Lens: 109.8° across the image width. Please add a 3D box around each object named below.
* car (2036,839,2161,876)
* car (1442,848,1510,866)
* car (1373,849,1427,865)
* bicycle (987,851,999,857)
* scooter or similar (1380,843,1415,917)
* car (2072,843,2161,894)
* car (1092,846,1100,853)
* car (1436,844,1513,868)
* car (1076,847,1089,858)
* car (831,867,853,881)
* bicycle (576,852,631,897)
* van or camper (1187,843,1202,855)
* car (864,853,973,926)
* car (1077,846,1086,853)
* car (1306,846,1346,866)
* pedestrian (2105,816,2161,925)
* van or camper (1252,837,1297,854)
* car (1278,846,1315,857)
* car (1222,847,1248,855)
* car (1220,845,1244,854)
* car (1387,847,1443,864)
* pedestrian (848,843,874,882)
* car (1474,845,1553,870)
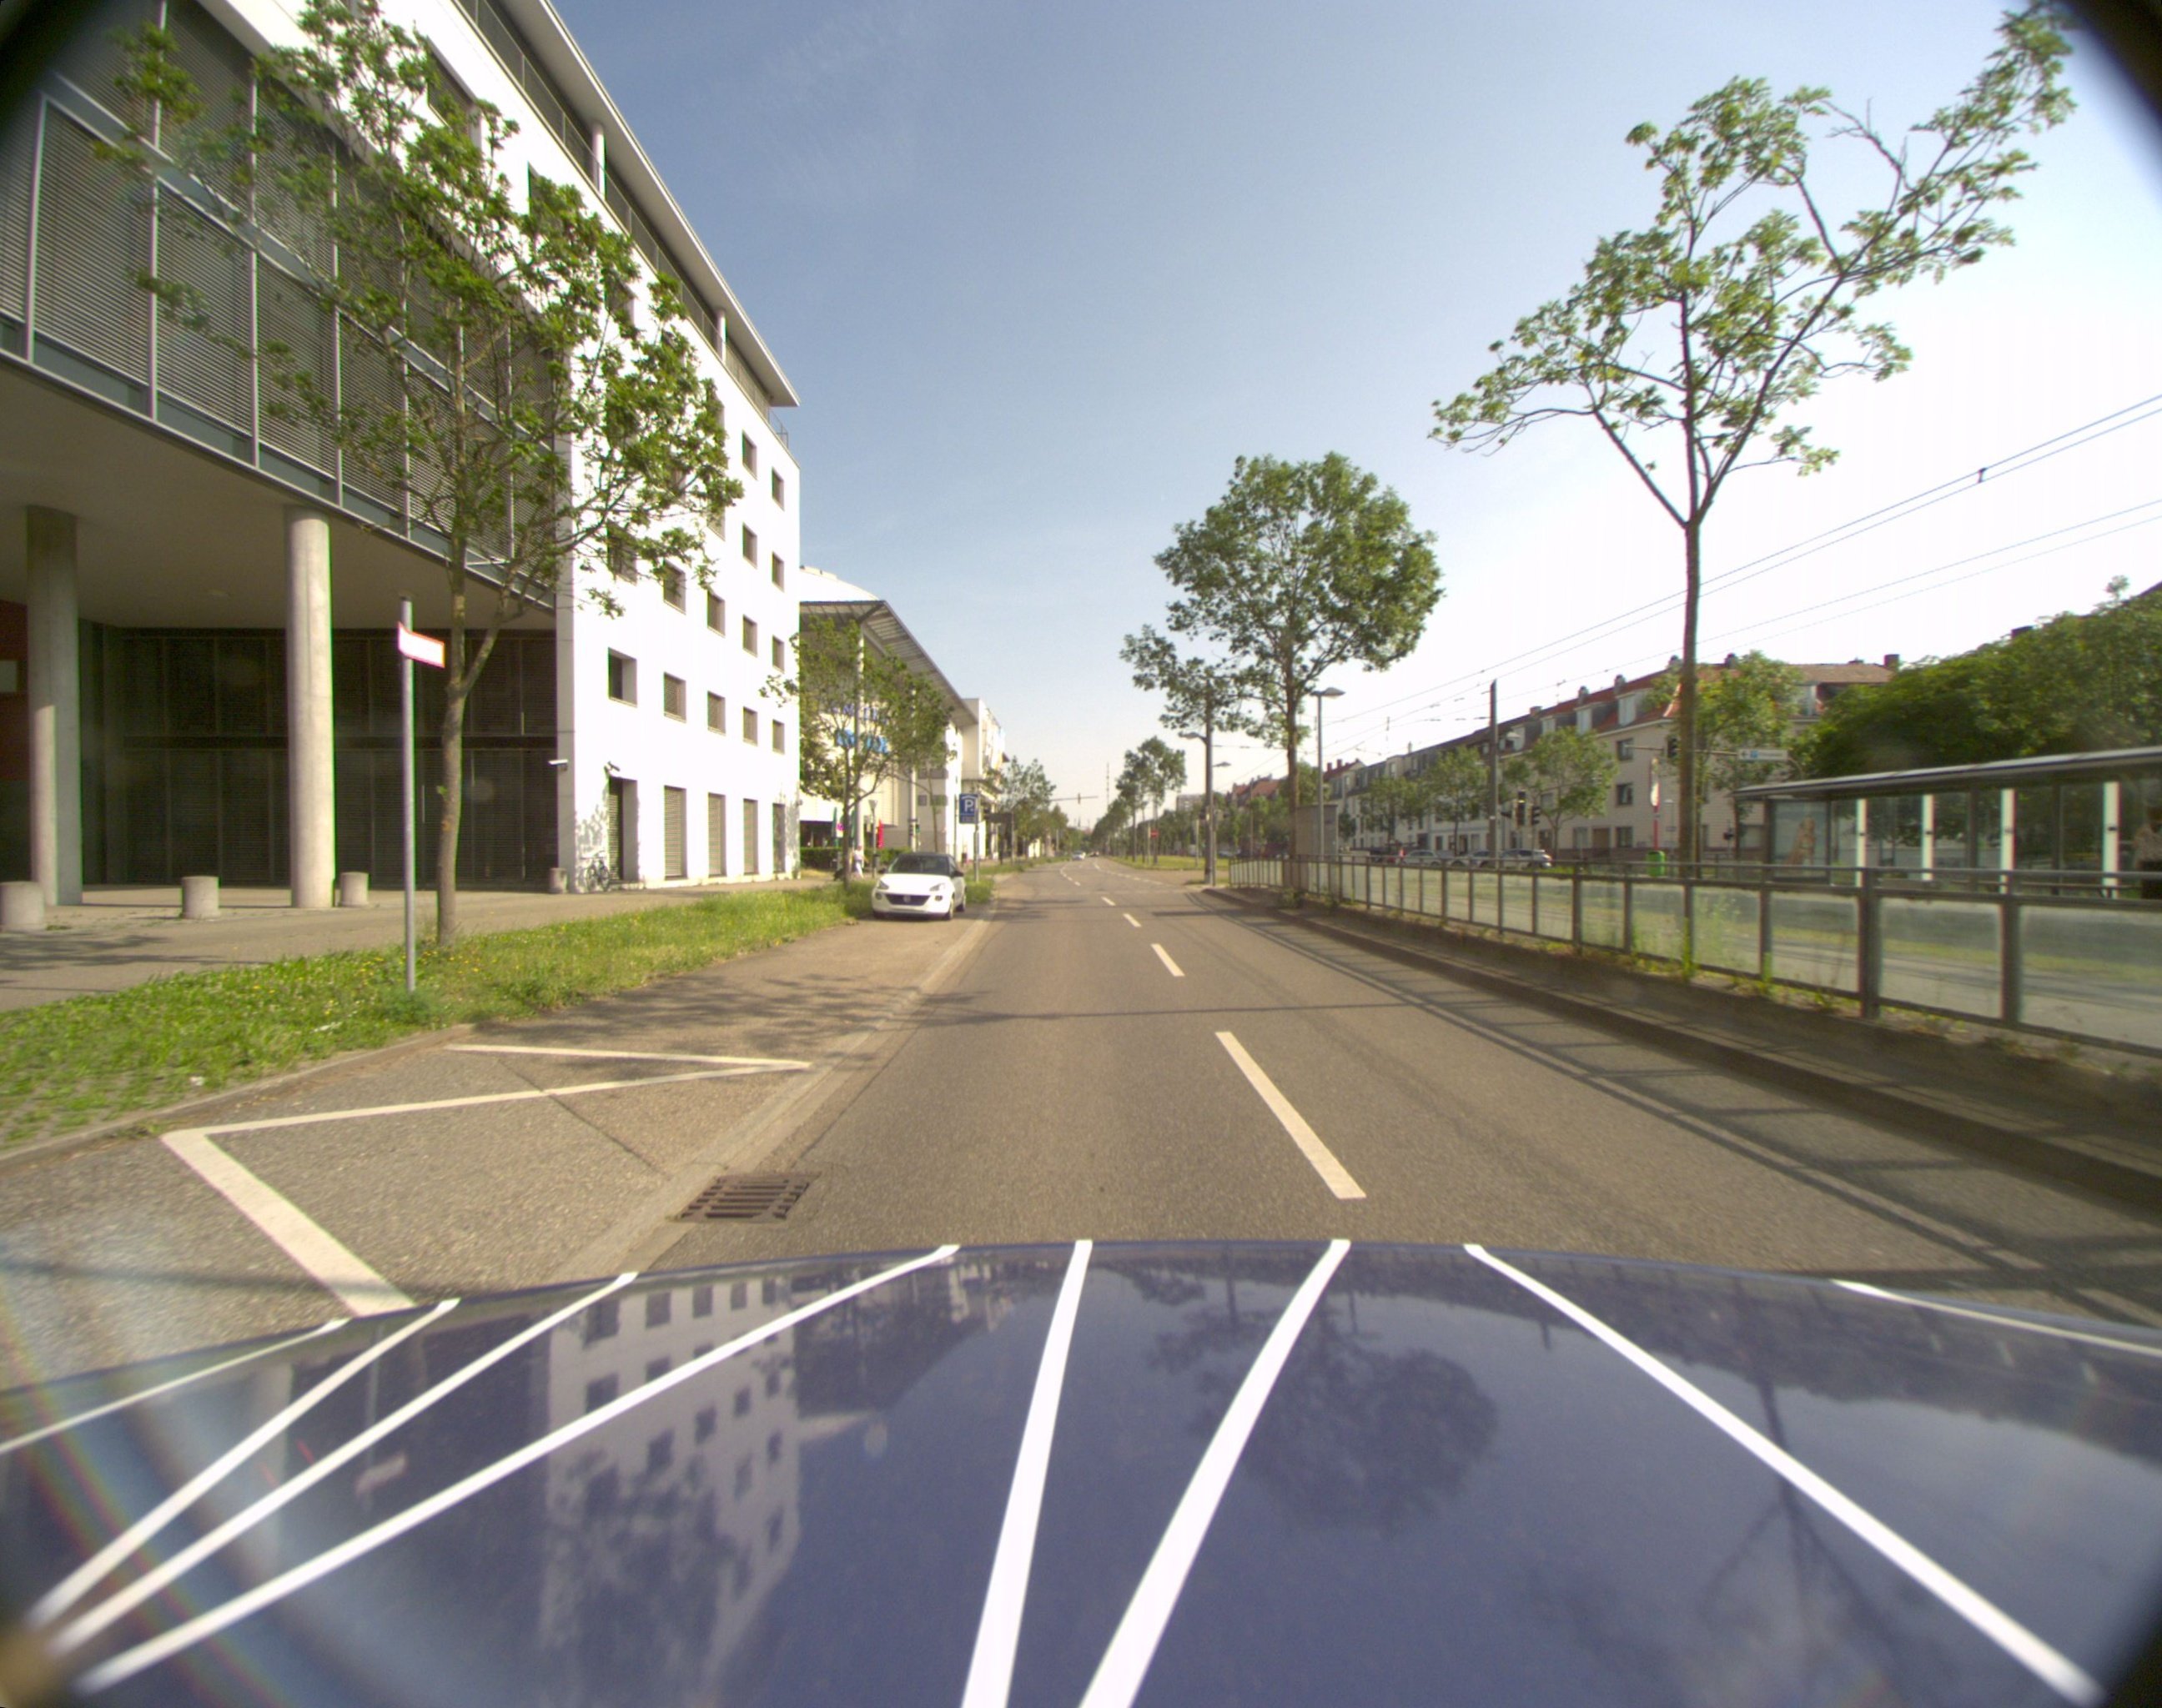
[{"bbox_3d":[49.751,0.160,36.931,3.996,1.596,1.999,-2,1,3],"label":"car"},{"bbox_3d":[28.768,0.205,55.362,3.989,1.171,2.004,-1,1,41],"label":"car"},{"bbox_3d":[27.776,0.237,66.194,3.988,1.251,1.880,1,1,33],"label":"car"},{"bbox_3d":[-12.944,-0.021,111.578,1.661,0.910,0.482,1,1,1],"label":"bicycle"},{"bbox_3d":[5.526,0.424,13.230,0.426,1.232,1.264,1,1,28],"label":"scooter or similar"},{"bbox_3d":[39.830,0.495,27.980,3.997,1.685,2.000,-2,1,1],"label":"car"},{"bbox_3d":[3.805,-1.122,189.655,1.998,1.652,4.000,0,0,0],"label":"car"},{"bbox_3d":[27.588,0.158,53.325,4.452,1.506,2.004,-1,1,37],"label":"car"},{"bbox_3d":[0.208,-0.176,115.522,1.998,1.652,4.000,0,0,0],"label":"car"},{"bbox_3d":[-10.184,0.855,32.390,0.766,0.584,0.499,1,1,26],"label":"car"},{"bbox_3d":[-12.374,0.512,19.731,0.495,1.080,1.549,1,1,-2],"label":"bicycle"},{"bbox_3d":[23.619,-1.058,157.740,2.147,2.460,6.057,1,1,0],"label":"van or camper"},{"bbox_3d":[-3.633,0.734,17.591,1.725,1.510,3.781,0,0,-1],"label":"car"},{"bbox_3d":[0.089,-1.077,174.992,1.998,1.652,4.000,0,0,0],"label":"car"},{"bbox_3d":[22.592,0.123,70.201,1.999,1.696,4.711,2,1,-1],"label":"car"},{"bbox_3d":[16.704,0.243,11.741,0.673,1.643,0.794,0,1,-4],"label":"pedestrian"},{"bbox_3d":[29.072,-1.248,114.210,6.144,2.532,2.419,0,1,38],"label":"van or camper"},{"bbox_3d":[28.667,-0.279,101.311,4.387,1.313,1.737,-1,1,33],"label":"car"},{"bbox_3d":[29.043,-0.544,143.243,4.354,1.466,1.861,-1,1,38],"label":"car"},{"bbox_3d":[29.039,-0.831,146.084,4.087,1.520,1.816,-1,1,38],"label":"car"},{"bbox_3d":[27.738,0.159,63.080,3.989,1.262,1.890,-2,1,30],"label":"car"},{"bbox_3d":[-9.345,0.355,32.305,0.777,1.606,0.715,1,1,27],"label":"pedestrian"},{"bbox_3d":[28.154,0.236,49.474,4.341,1.455,1.967,-1,1,34],"label":"car"}]
